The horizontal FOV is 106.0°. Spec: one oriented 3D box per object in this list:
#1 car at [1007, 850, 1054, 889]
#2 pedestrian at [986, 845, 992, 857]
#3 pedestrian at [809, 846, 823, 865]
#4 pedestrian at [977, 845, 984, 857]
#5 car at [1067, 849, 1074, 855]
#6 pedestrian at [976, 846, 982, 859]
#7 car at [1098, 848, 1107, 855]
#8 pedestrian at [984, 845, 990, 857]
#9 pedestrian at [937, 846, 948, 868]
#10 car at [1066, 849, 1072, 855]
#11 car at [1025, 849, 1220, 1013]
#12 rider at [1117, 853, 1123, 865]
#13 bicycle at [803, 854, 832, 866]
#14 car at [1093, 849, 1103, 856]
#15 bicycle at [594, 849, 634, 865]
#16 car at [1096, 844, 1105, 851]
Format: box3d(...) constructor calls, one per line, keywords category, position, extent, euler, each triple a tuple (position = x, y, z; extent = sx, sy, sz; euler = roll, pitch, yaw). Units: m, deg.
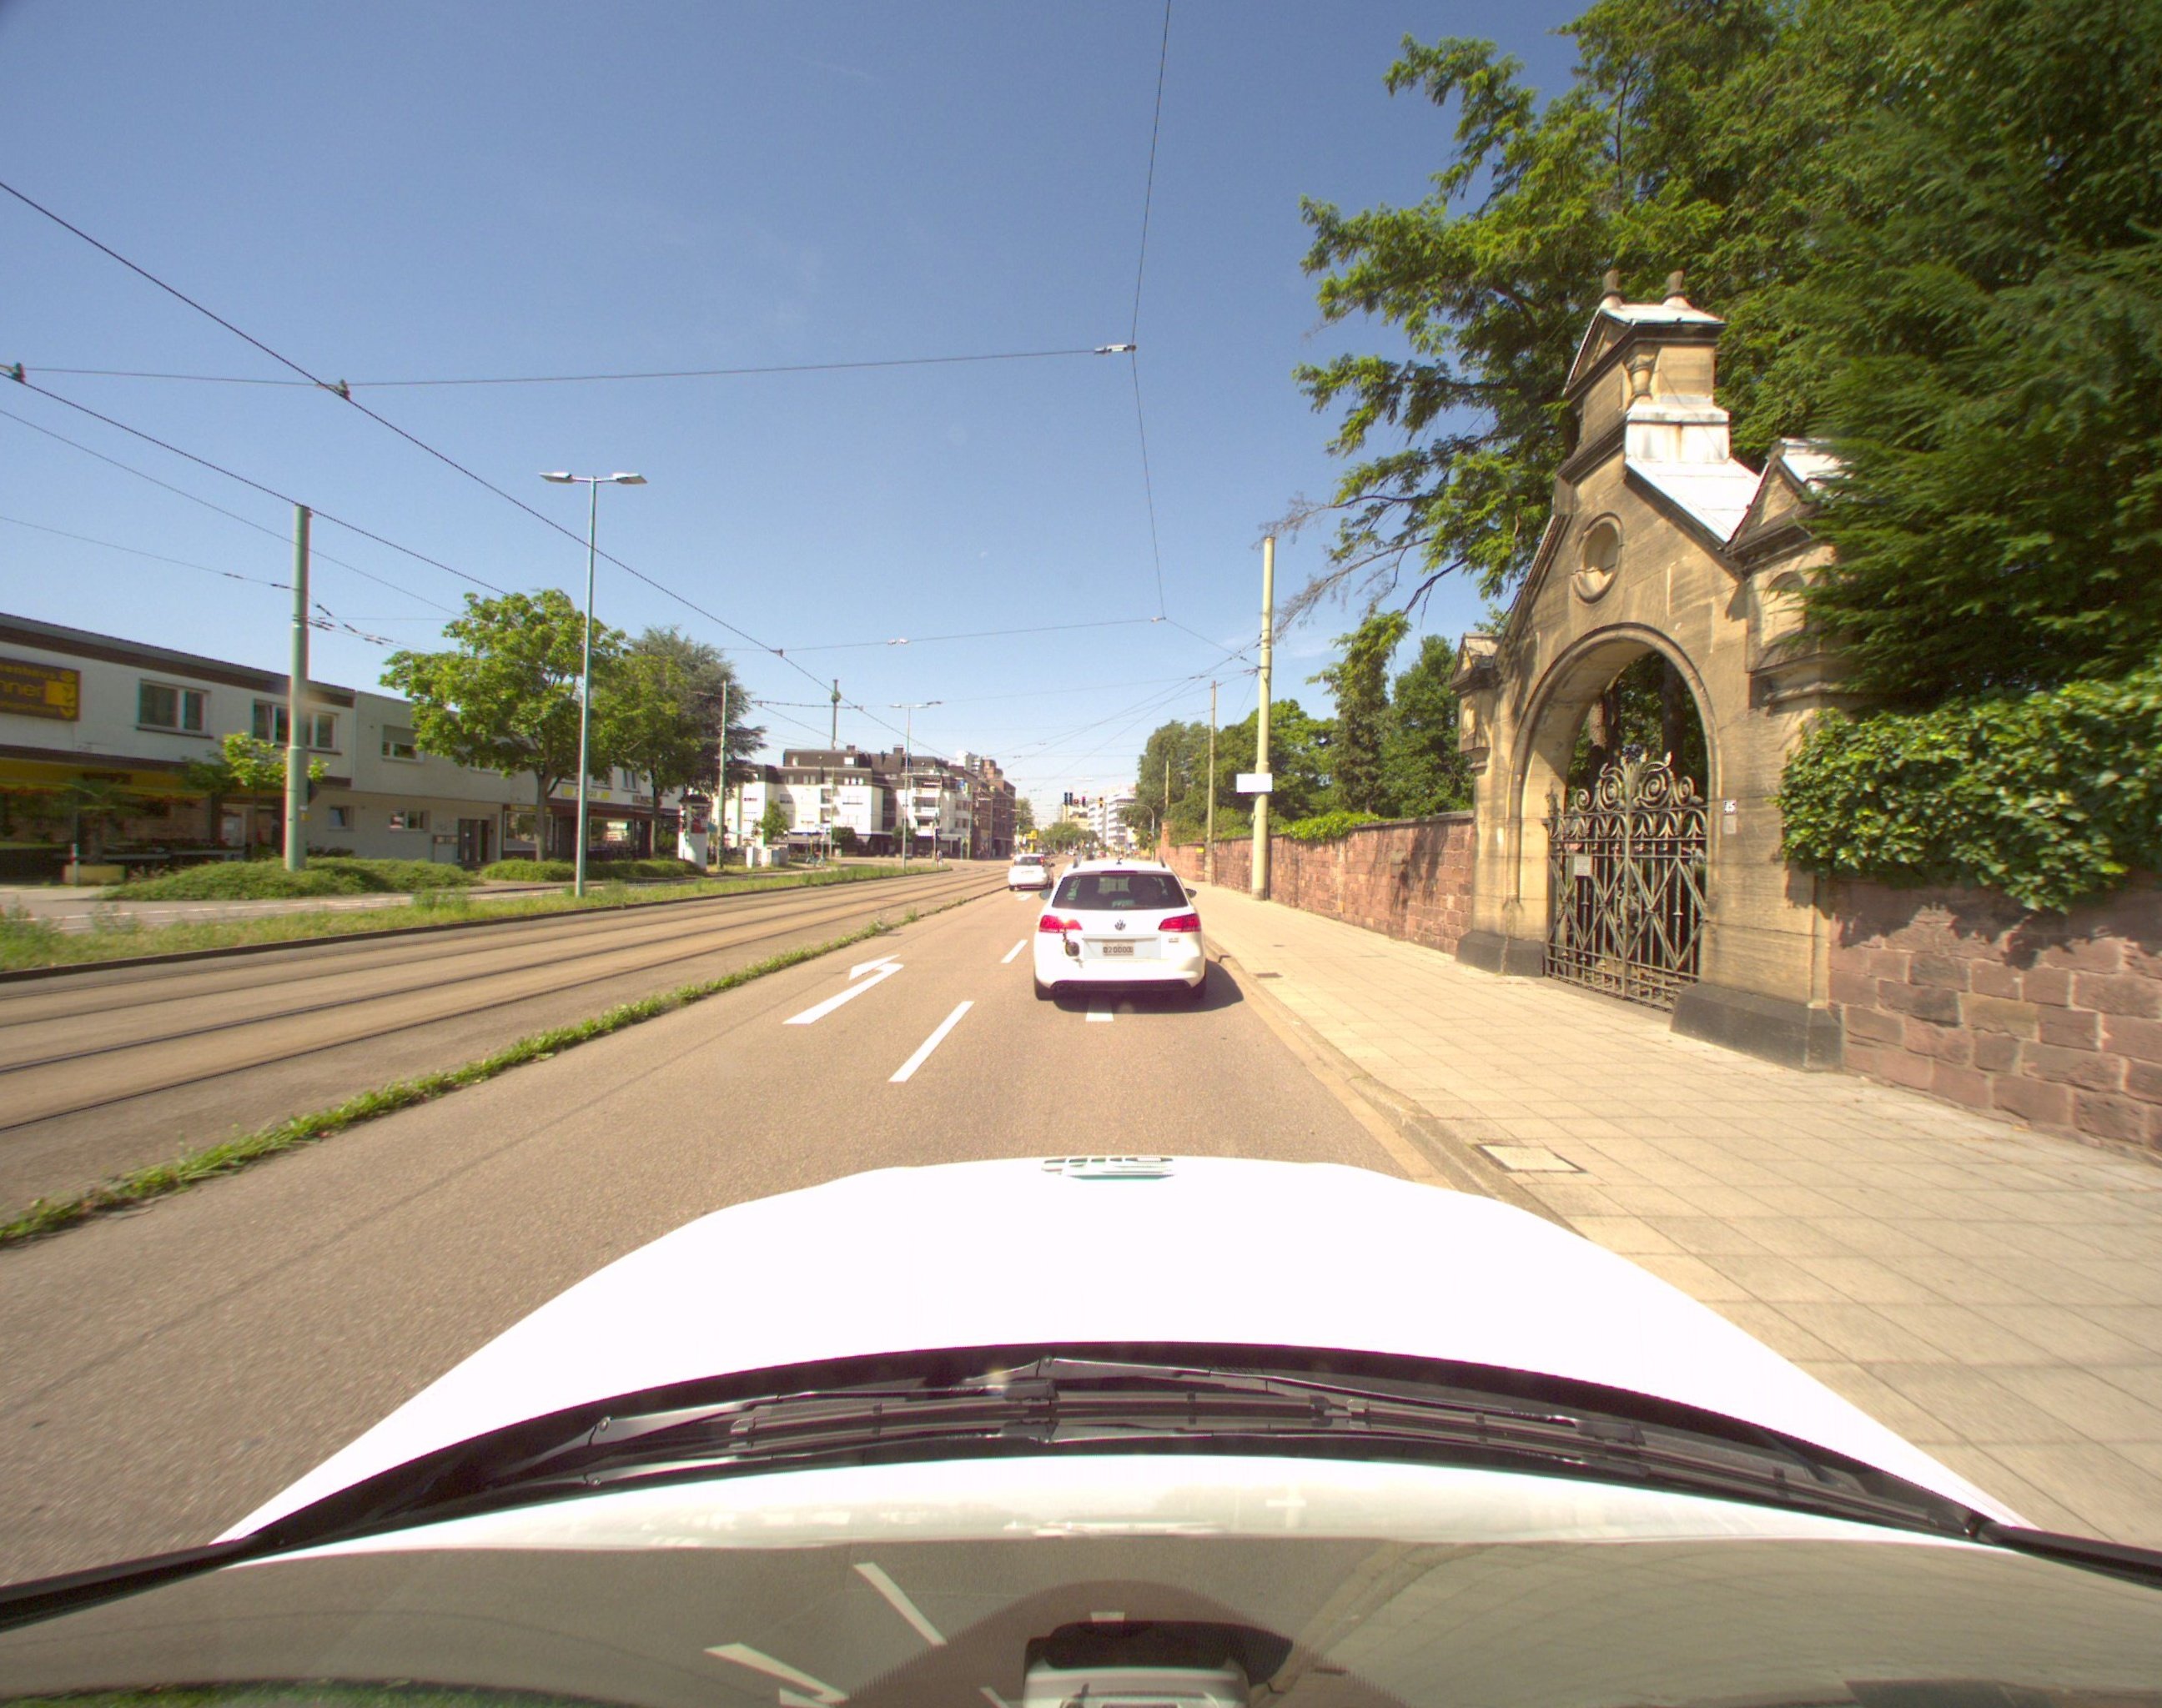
box3d(category="car", position=(-2.161, 0.634, 35.668), extent=(1.724, 1.596, 4.012), euler=(0, 0, 1))
box3d(category="pedestrian", position=(-15.399, -0.444, 135.910), extent=(0.935, 2.013, 0.989), euler=(1, 0, -4))
box3d(category="pedestrian", position=(-20.944, 0.124, 64.386), extent=(0.820, 1.487, 0.559), euler=(1, 0, -45))
box3d(category="pedestrian", position=(-16.904, -0.473, 137.050), extent=(0.934, 2.013, 0.990), euler=(1, 0, -3))
box3d(category="car", position=(-3.132, -0.546, 245.031), extent=(1.698, 1.591, 3.524), euler=(1, 0, -9))
box3d(category="pedestrian", position=(-16.335, -0.198, 130.371), extent=(0.934, 2.013, 0.990), euler=(1, 0, -2))
box3d(category="car", position=(6.363, -0.731, 242.922), extent=(1.995, 2.013, 3.984), euler=(1, 0, -12))
box3d(category="pedestrian", position=(-16.026, -0.466, 138.542), extent=(0.935, 2.013, 0.989), euler=(1, 0, -4))
box3d(category="pedestrian", position=(-11.136, 0.222, 65.519), extent=(0.825, 1.738, 0.930), euler=(1, 0, -6))
box3d(category="car", position=(-3.162, -0.629, 216.596), extent=(1.693, 1.591, 3.535), euler=(0, 0, 1))
box3d(category="car", position=(0.461, 0.696, 9.388), extent=(1.772, 1.490, 3.849), euler=(-1, 0, 2))
box3d(category="rider", position=(5.883, 0.751, 122.012), extent=(0.887, 1.728, 2.205), euler=(1, 0, 2))
box3d(category="bicycle", position=(-20.661, 0.500, 63.874), extent=(0.546, 0.921, 2.190), euler=(1, 0, 45))
box3d(category="car", position=(4.800, -0.492, 226.903), extent=(1.993, 1.903, 3.988), euler=(1, 0, -9))
box3d(category="bicycle", position=(-26.562, 0.141, 46.364), extent=(0.780, 0.888, 2.392), euler=(1, 0, 2))
box3d(category="car", position=(6.137, -2.095, 257.372), extent=(1.995, 2.013, 3.984), euler=(1, 0, -12))
